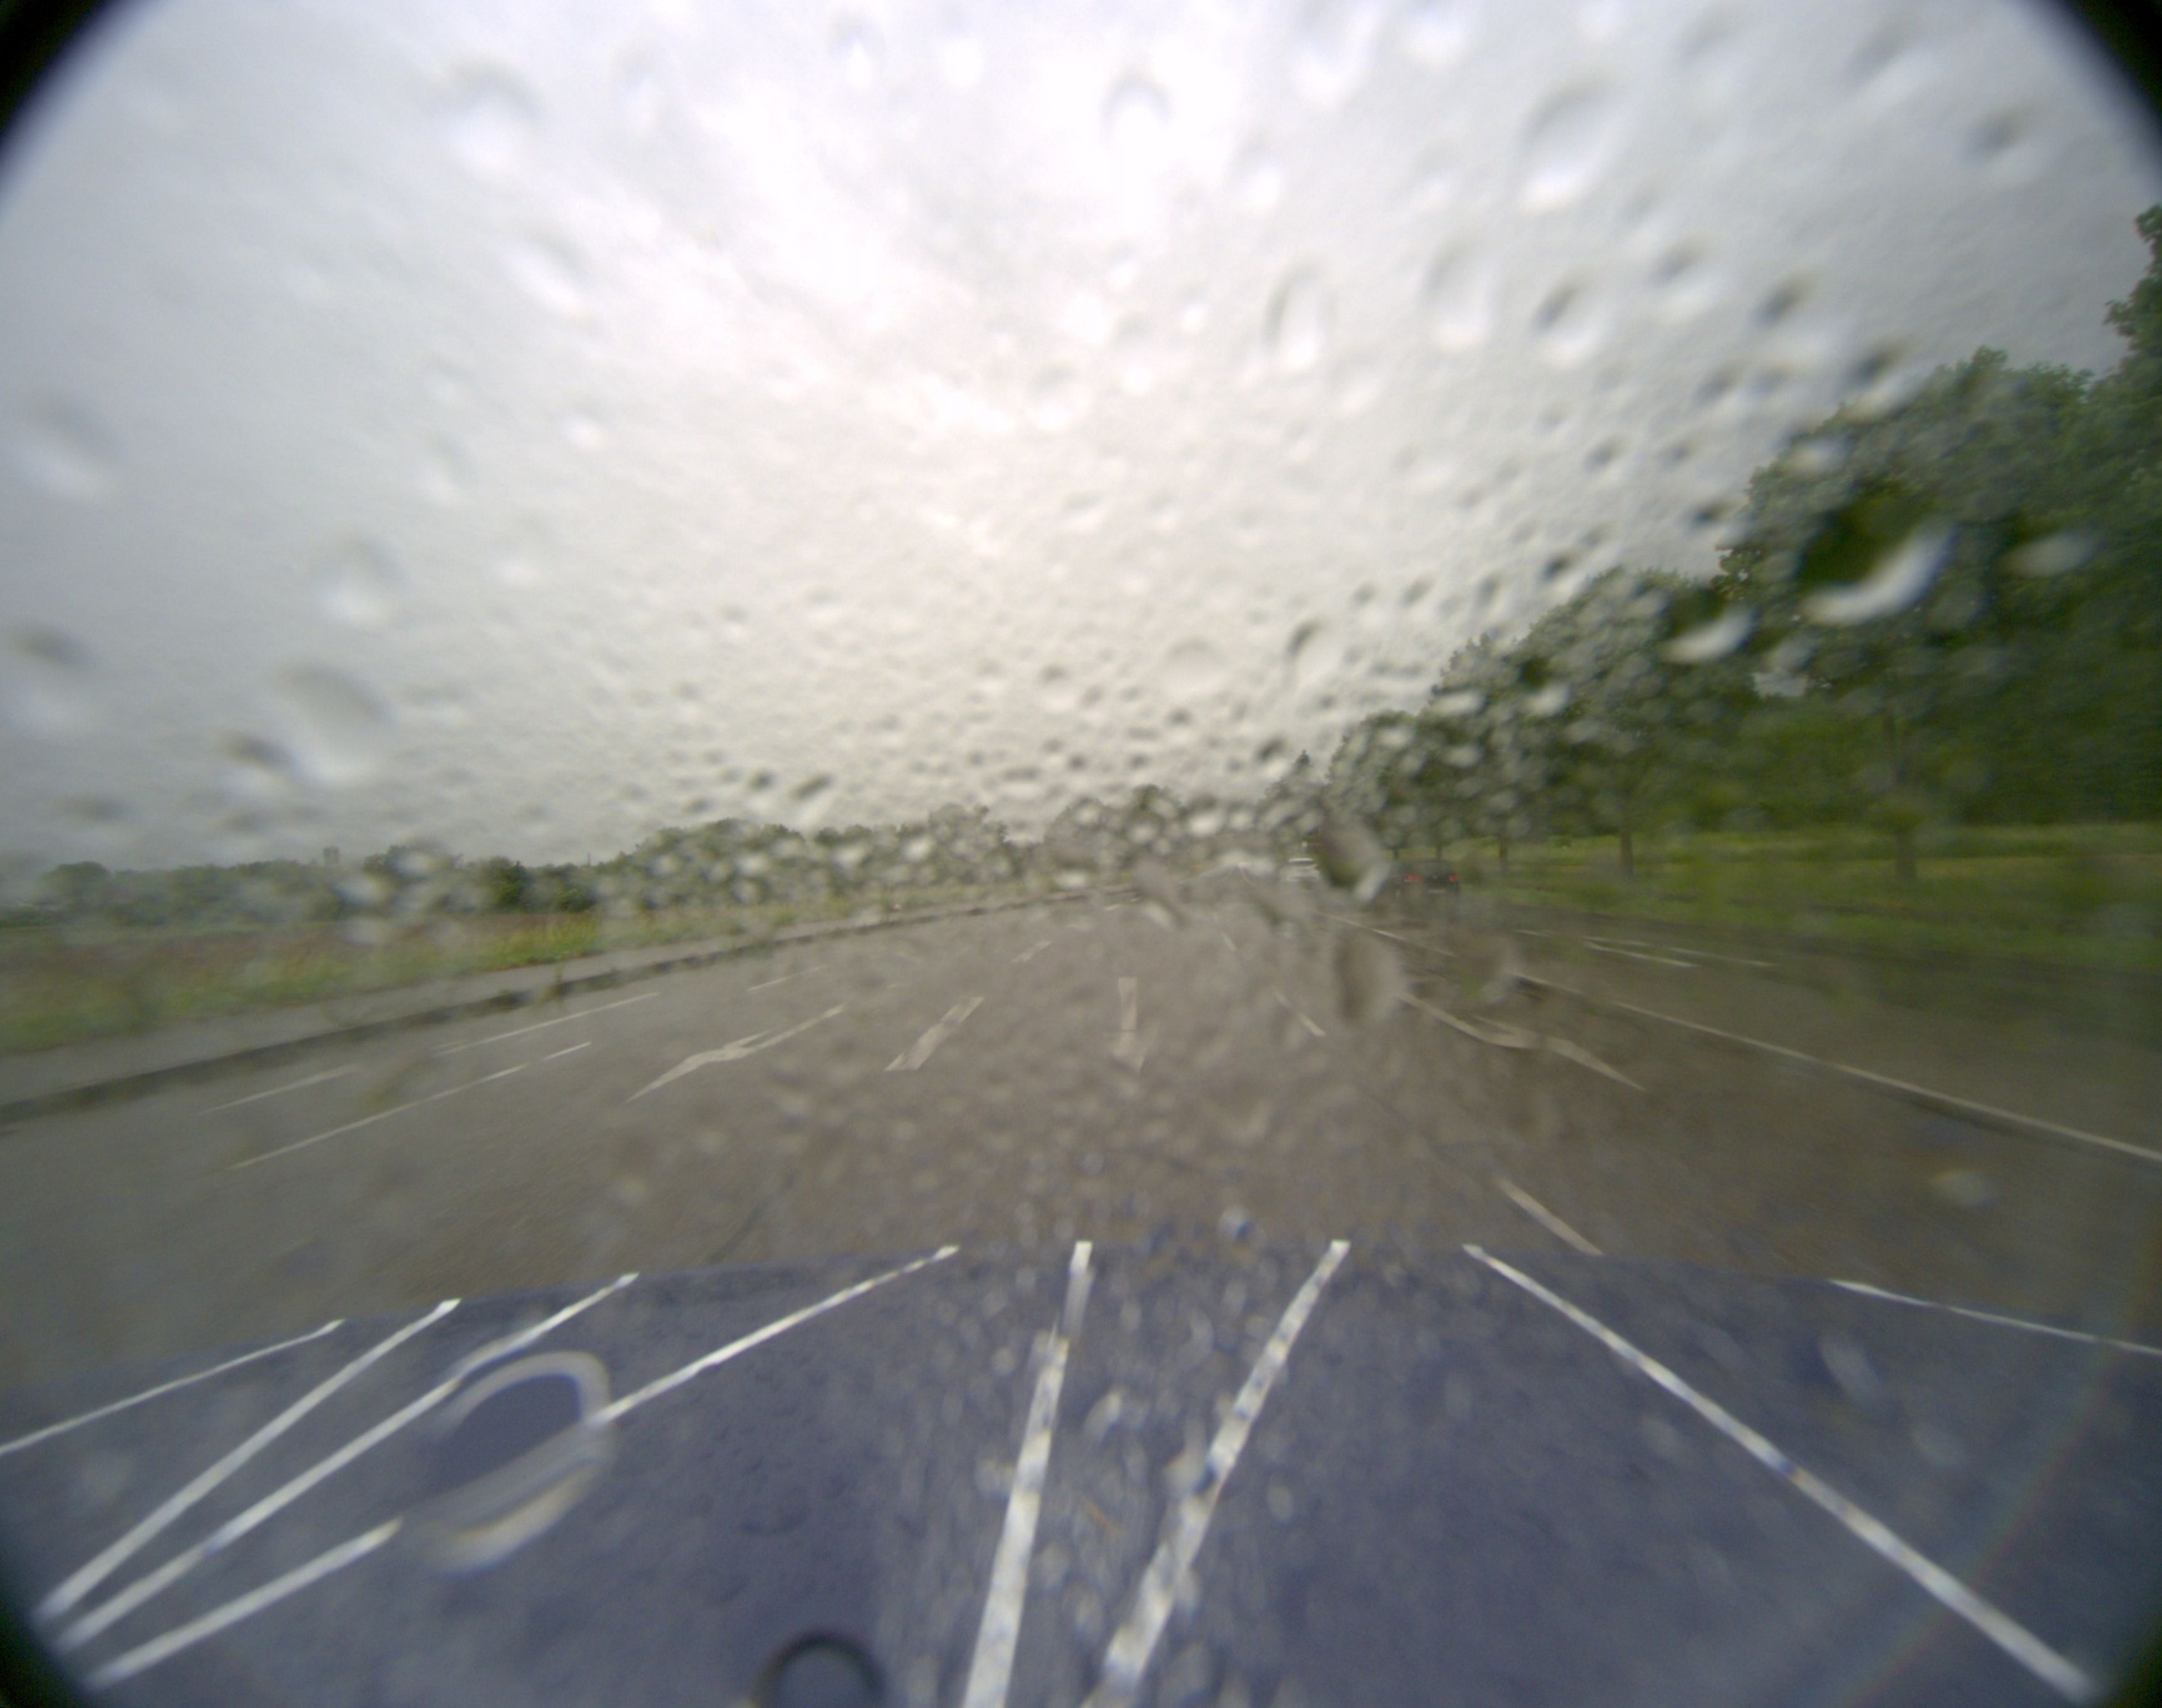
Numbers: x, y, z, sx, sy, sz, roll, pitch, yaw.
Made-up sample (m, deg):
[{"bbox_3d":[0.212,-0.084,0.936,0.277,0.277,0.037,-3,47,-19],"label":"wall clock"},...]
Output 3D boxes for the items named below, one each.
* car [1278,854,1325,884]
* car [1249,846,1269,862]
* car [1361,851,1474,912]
[{"bbox_3d":[11.541,0.735,40.030,1.742,1.478,4.013,-1,0,7],"label":"car"},{"bbox_3d":[20.632,-0.005,88.068,1.927,1.733,4.291,-1,0,9],"label":"car"},{"bbox_3d":[10.365,0.779,23.765,1.888,1.578,4.119,-4,0,4],"label":"car"}]
